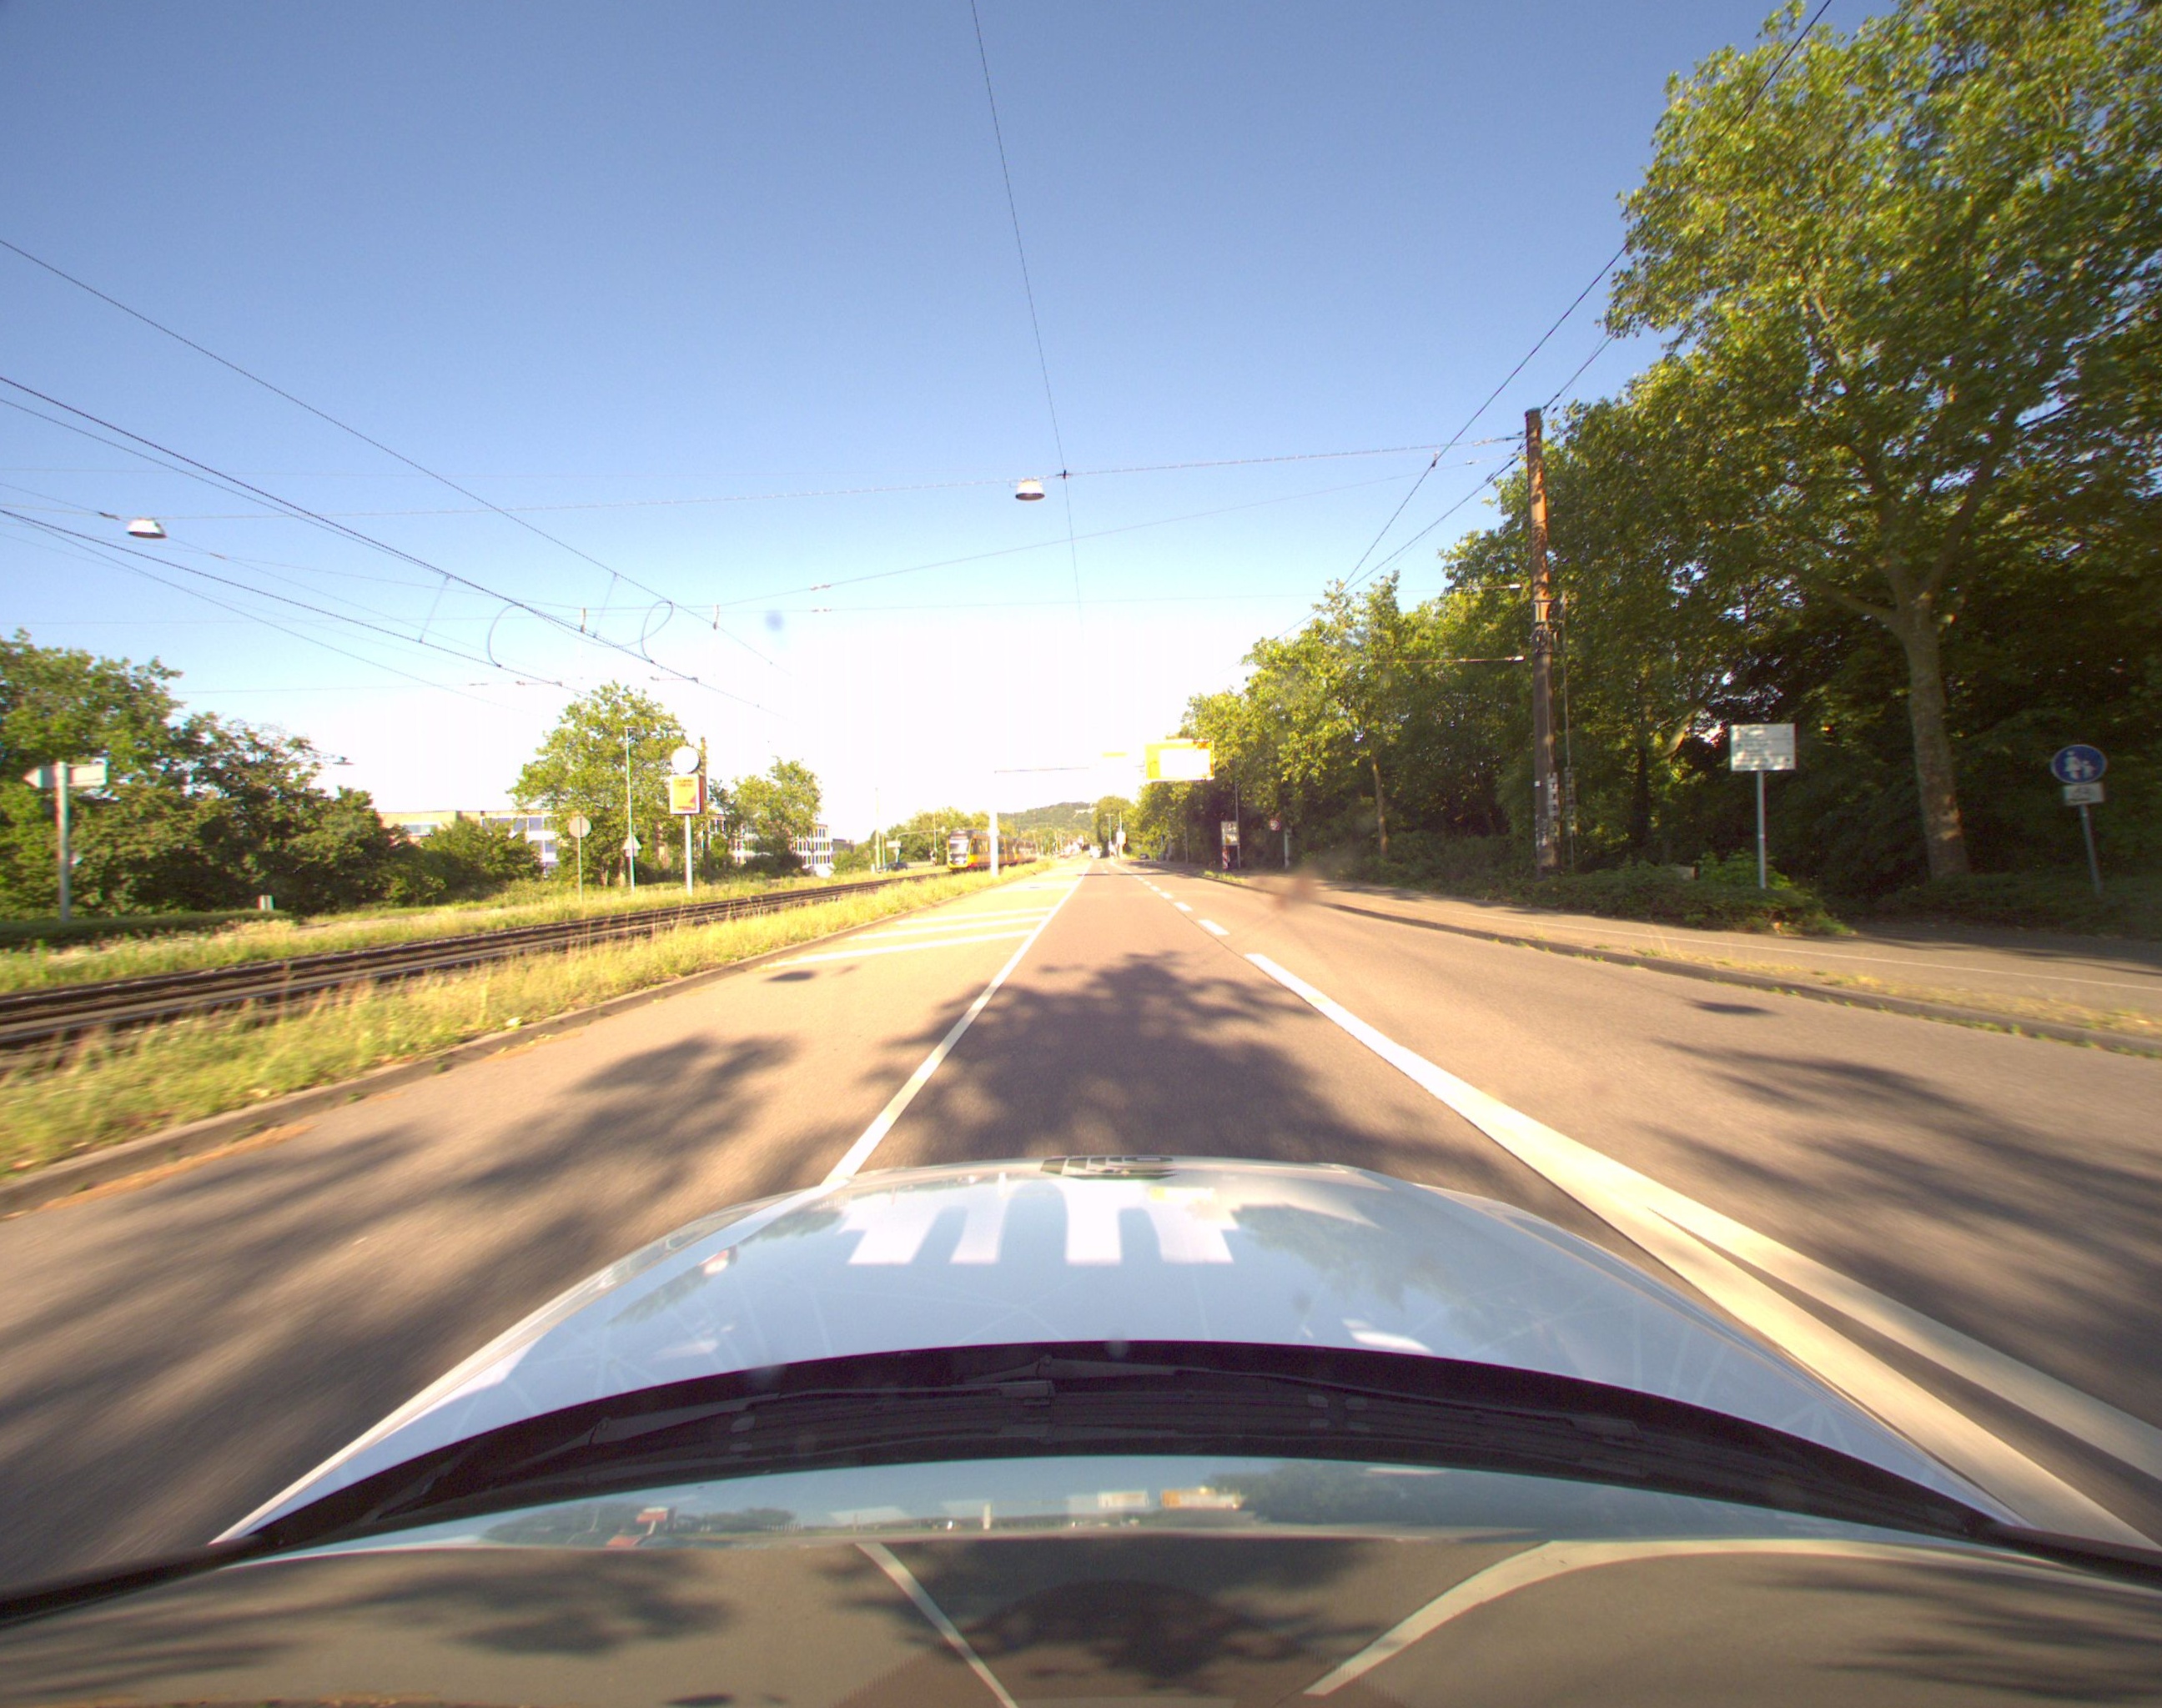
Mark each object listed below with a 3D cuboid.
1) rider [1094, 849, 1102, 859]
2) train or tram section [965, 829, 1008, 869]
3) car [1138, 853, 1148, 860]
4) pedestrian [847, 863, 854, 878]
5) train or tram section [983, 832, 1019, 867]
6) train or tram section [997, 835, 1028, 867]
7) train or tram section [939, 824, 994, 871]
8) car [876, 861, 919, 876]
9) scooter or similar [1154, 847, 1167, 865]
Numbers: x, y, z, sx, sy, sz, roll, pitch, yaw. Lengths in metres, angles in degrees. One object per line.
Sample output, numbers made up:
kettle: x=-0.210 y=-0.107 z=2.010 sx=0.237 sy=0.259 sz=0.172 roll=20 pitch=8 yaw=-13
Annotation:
rider: x=4.997 y=-0.028 z=238.020 sx=2.098 sy=2.647 sz=0.738 roll=-2 pitch=0 yaw=6
train or tram section: x=-9.776 y=-0.489 z=85.656 sx=2.794 sy=3.902 sz=11.995 roll=-1 pitch=0 yaw=2
car: x=13.816 y=0.617 z=181.879 sx=2.075 sy=1.566 sz=3.964 roll=-1 pitch=0 yaw=8
pedestrian: x=-27.604 y=1.971 z=97.496 sx=0.535 sy=1.821 sz=0.655 roll=-1 pitch=0 yaw=23
train or tram section: x=-9.409 y=-0.464 z=97.568 sx=2.794 sy=3.902 sz=11.816 roll=-1 pitch=0 yaw=2
train or tram section: x=-9.134 y=-0.381 z=109.706 sx=2.814 sy=3.950 sz=12.709 roll=-1 pitch=0 yaw=1
train or tram section: x=-10.124 y=-0.516 z=73.512 sx=2.794 sy=3.902 sz=12.336 roll=-1 pitch=0 yaw=2
car: x=-24.166 y=1.863 z=107.325 sx=5.147 sy=1.815 sz=1.931 roll=-1 pitch=0 yaw=-26
scooter or similar: x=11.991 y=0.299 z=123.275 sx=1.675 sy=2.715 sz=4.870 roll=-1 pitch=0 yaw=2
